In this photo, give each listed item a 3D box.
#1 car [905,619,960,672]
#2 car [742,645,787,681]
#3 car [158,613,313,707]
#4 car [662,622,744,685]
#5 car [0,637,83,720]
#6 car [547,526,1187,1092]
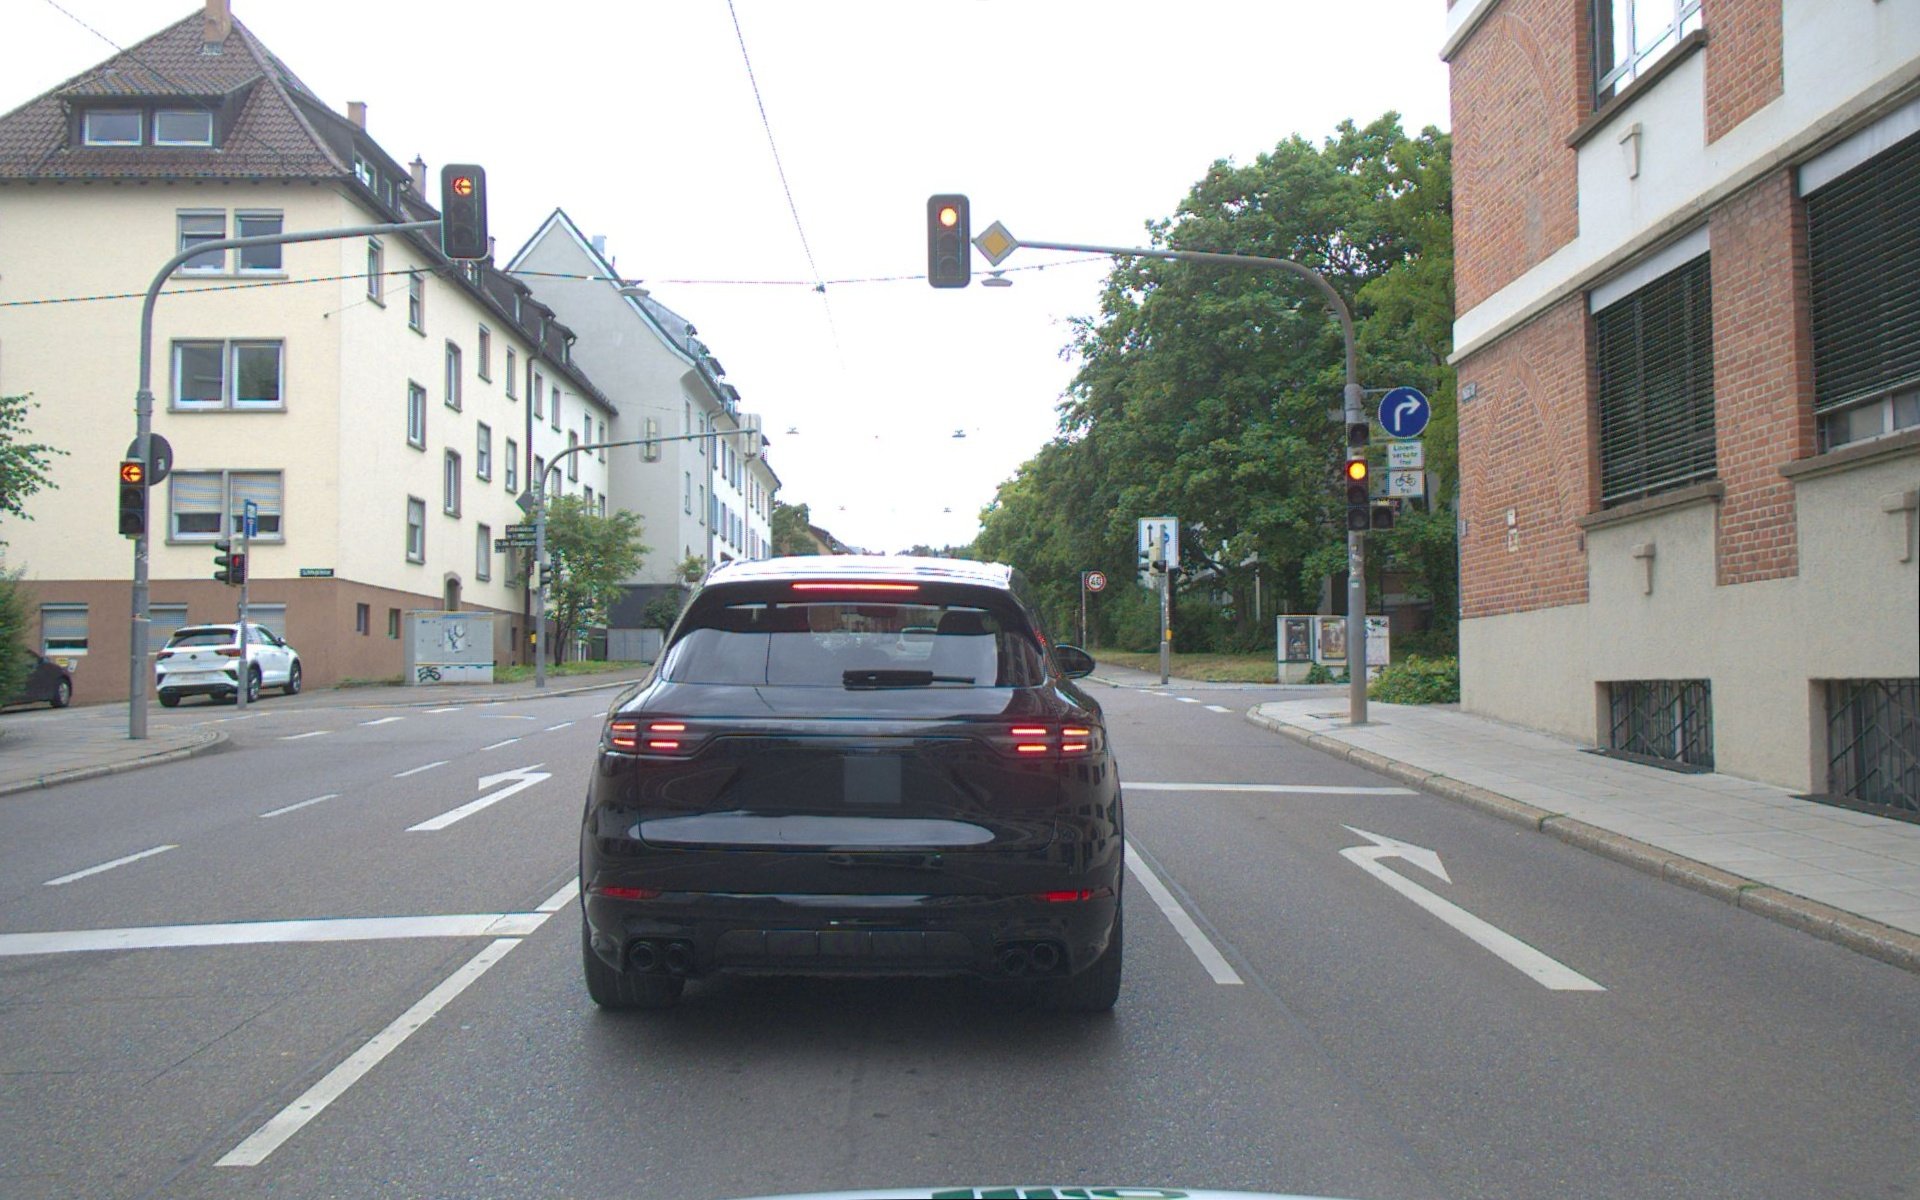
[{"bbox_3d":[-0.903,1.412,52.888,1.654,1.579,3.887,1,0,-2],"label":"car"},{"bbox_3d":[-8.172,2.618,69.382,1.637,1.386,3.997,0,0,-4],"label":"car"},{"bbox_3d":[-14.684,1.158,33.733,1.638,1.691,3.995,-3,0,-5],"label":"car"},{"bbox_3d":[-7.126,1.455,46.148,1.630,1.545,3.739,-4,0,0],"label":"car"},{"bbox_3d":[-19.713,1.618,33.551,1.636,1.573,4.100,-3,0,-1],"label":"car"},{"bbox_3d":[-0.312,0.657,7.111,1.953,1.726,3.999,1,0,-1],"label":"car"}]
